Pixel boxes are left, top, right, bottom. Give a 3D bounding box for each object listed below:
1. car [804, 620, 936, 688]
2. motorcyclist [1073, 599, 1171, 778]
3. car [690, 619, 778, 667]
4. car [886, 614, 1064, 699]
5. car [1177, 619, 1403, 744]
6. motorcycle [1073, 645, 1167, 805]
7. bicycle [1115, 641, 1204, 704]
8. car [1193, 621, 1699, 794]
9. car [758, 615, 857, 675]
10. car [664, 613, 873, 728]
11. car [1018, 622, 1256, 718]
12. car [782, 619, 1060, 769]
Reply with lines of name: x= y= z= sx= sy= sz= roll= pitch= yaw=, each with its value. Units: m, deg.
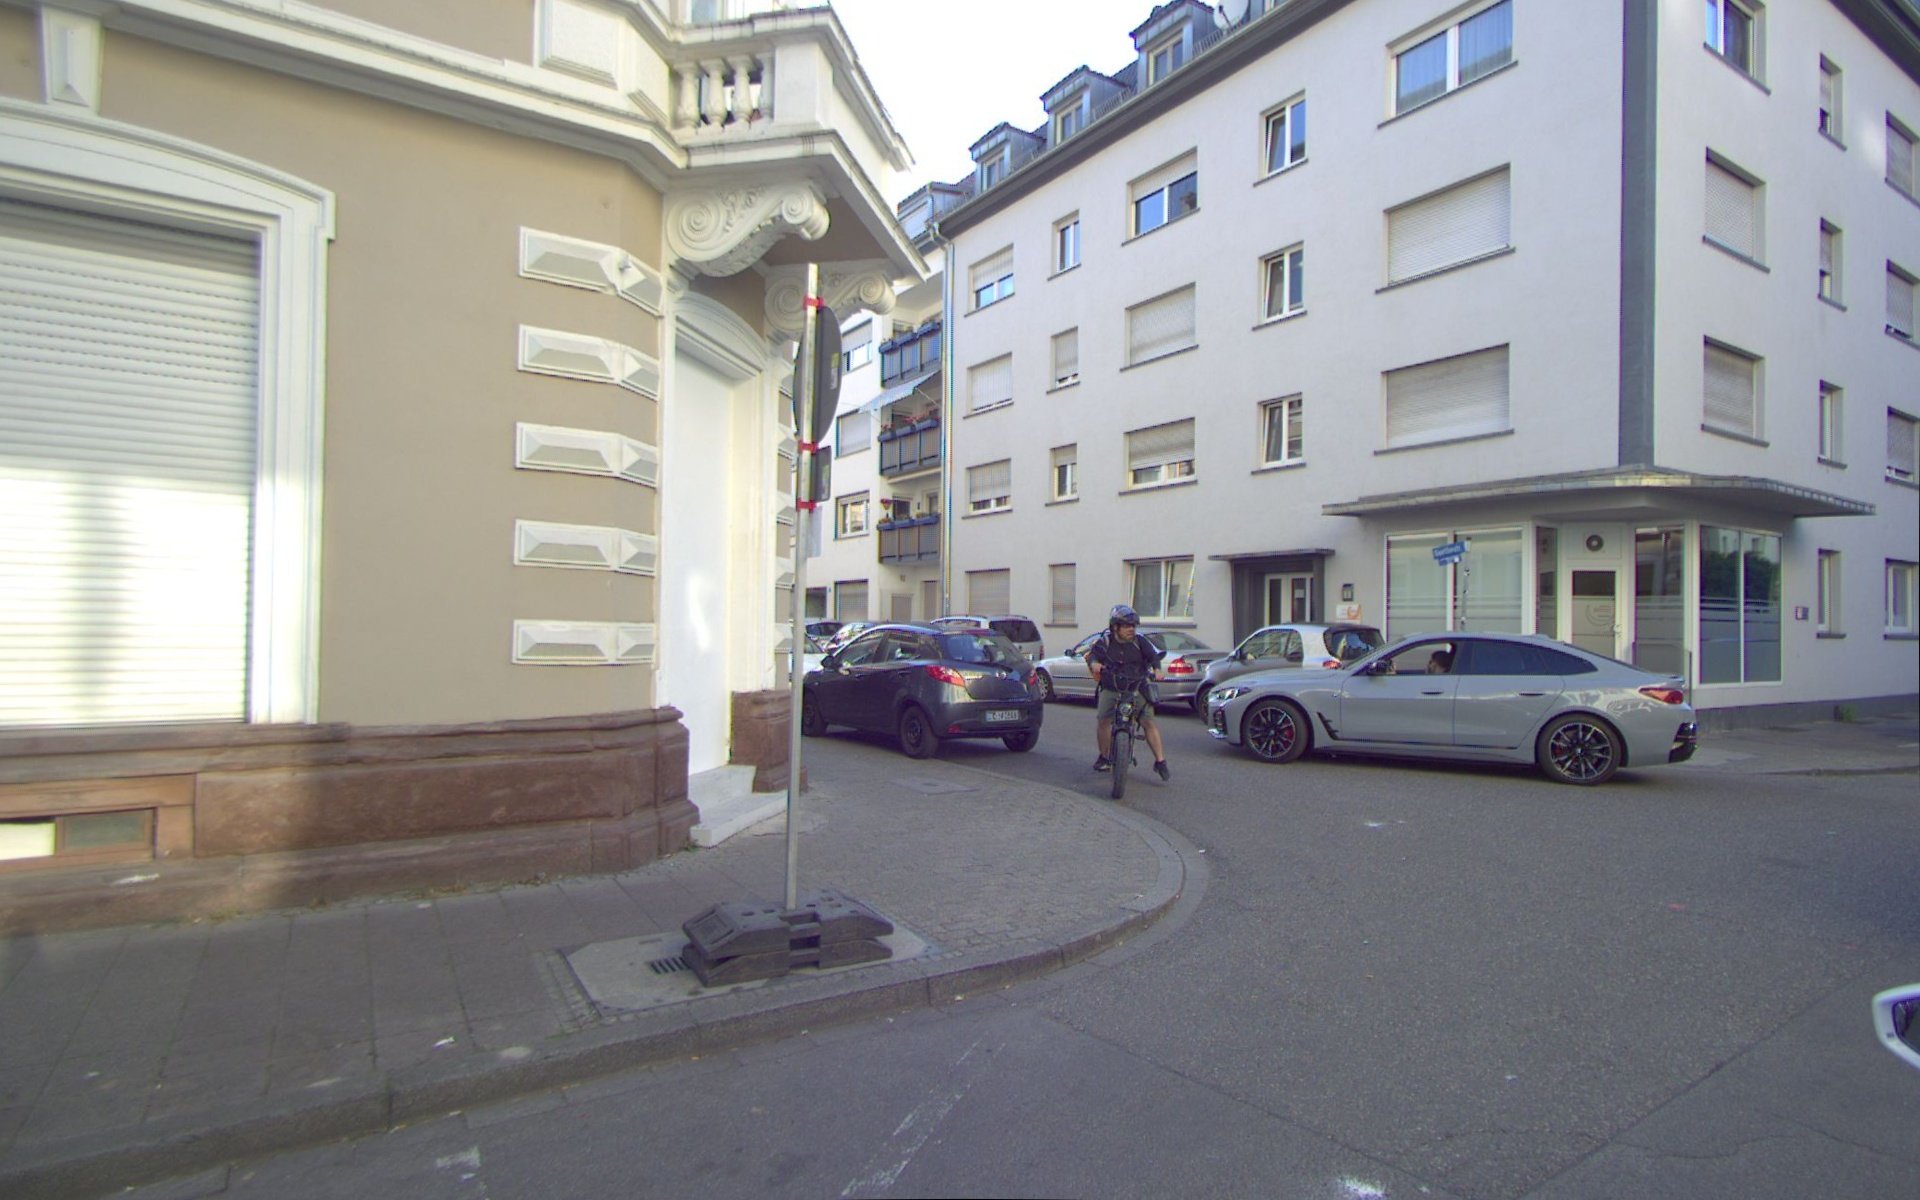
car: x=-2.409 y=1.343 z=26.079 sx=1.611 sy=1.581 sz=4.053 roll=1 pitch=-1 yaw=-35
motorcyclist: x=1.560 y=0.796 z=9.568 sx=0.857 sy=1.589 sz=1.000 roll=0 pitch=1 yaw=12
car: x=-7.832 y=1.436 z=34.572 sx=1.574 sy=1.507 sz=3.944 roll=2 pitch=-1 yaw=-35
car: x=0.233 y=1.168 z=22.201 sx=1.979 sy=1.675 sz=4.055 roll=2 pitch=-1 yaw=-34
car: x=4.734 y=1.102 z=14.661 sx=1.630 sy=1.586 sz=2.740 roll=1 pitch=-1 yaw=-32
motorcycle: x=1.553 y=1.114 z=9.522 sx=0.790 sy=1.266 sz=1.699 roll=0 pitch=1 yaw=12
bicycle: x=4.119 y=1.474 z=20.878 sx=0.484 sy=1.152 sz=2.038 roll=2 pitch=0 yaw=-34
car: x=5.048 y=1.027 z=11.025 sx=4.573 sy=1.506 sz=1.999 roll=1 pitch=-1 yaw=23
car: x=-4.619 y=1.296 z=30.085 sx=1.640 sy=1.666 sz=3.575 roll=1 pitch=-1 yaw=-32
car: x=-3.213 y=1.024 z=16.248 sx=1.817 sy=1.581 sz=4.053 roll=2 pitch=-1 yaw=-35
car: x=3.074 y=1.169 z=18.293 sx=1.947 sy=1.472 sz=4.226 roll=2 pitch=-1 yaw=-32
car: x=-0.604 y=1.021 z=12.313 sx=1.672 sy=1.499 sz=3.551 roll=2 pitch=-1 yaw=-37
